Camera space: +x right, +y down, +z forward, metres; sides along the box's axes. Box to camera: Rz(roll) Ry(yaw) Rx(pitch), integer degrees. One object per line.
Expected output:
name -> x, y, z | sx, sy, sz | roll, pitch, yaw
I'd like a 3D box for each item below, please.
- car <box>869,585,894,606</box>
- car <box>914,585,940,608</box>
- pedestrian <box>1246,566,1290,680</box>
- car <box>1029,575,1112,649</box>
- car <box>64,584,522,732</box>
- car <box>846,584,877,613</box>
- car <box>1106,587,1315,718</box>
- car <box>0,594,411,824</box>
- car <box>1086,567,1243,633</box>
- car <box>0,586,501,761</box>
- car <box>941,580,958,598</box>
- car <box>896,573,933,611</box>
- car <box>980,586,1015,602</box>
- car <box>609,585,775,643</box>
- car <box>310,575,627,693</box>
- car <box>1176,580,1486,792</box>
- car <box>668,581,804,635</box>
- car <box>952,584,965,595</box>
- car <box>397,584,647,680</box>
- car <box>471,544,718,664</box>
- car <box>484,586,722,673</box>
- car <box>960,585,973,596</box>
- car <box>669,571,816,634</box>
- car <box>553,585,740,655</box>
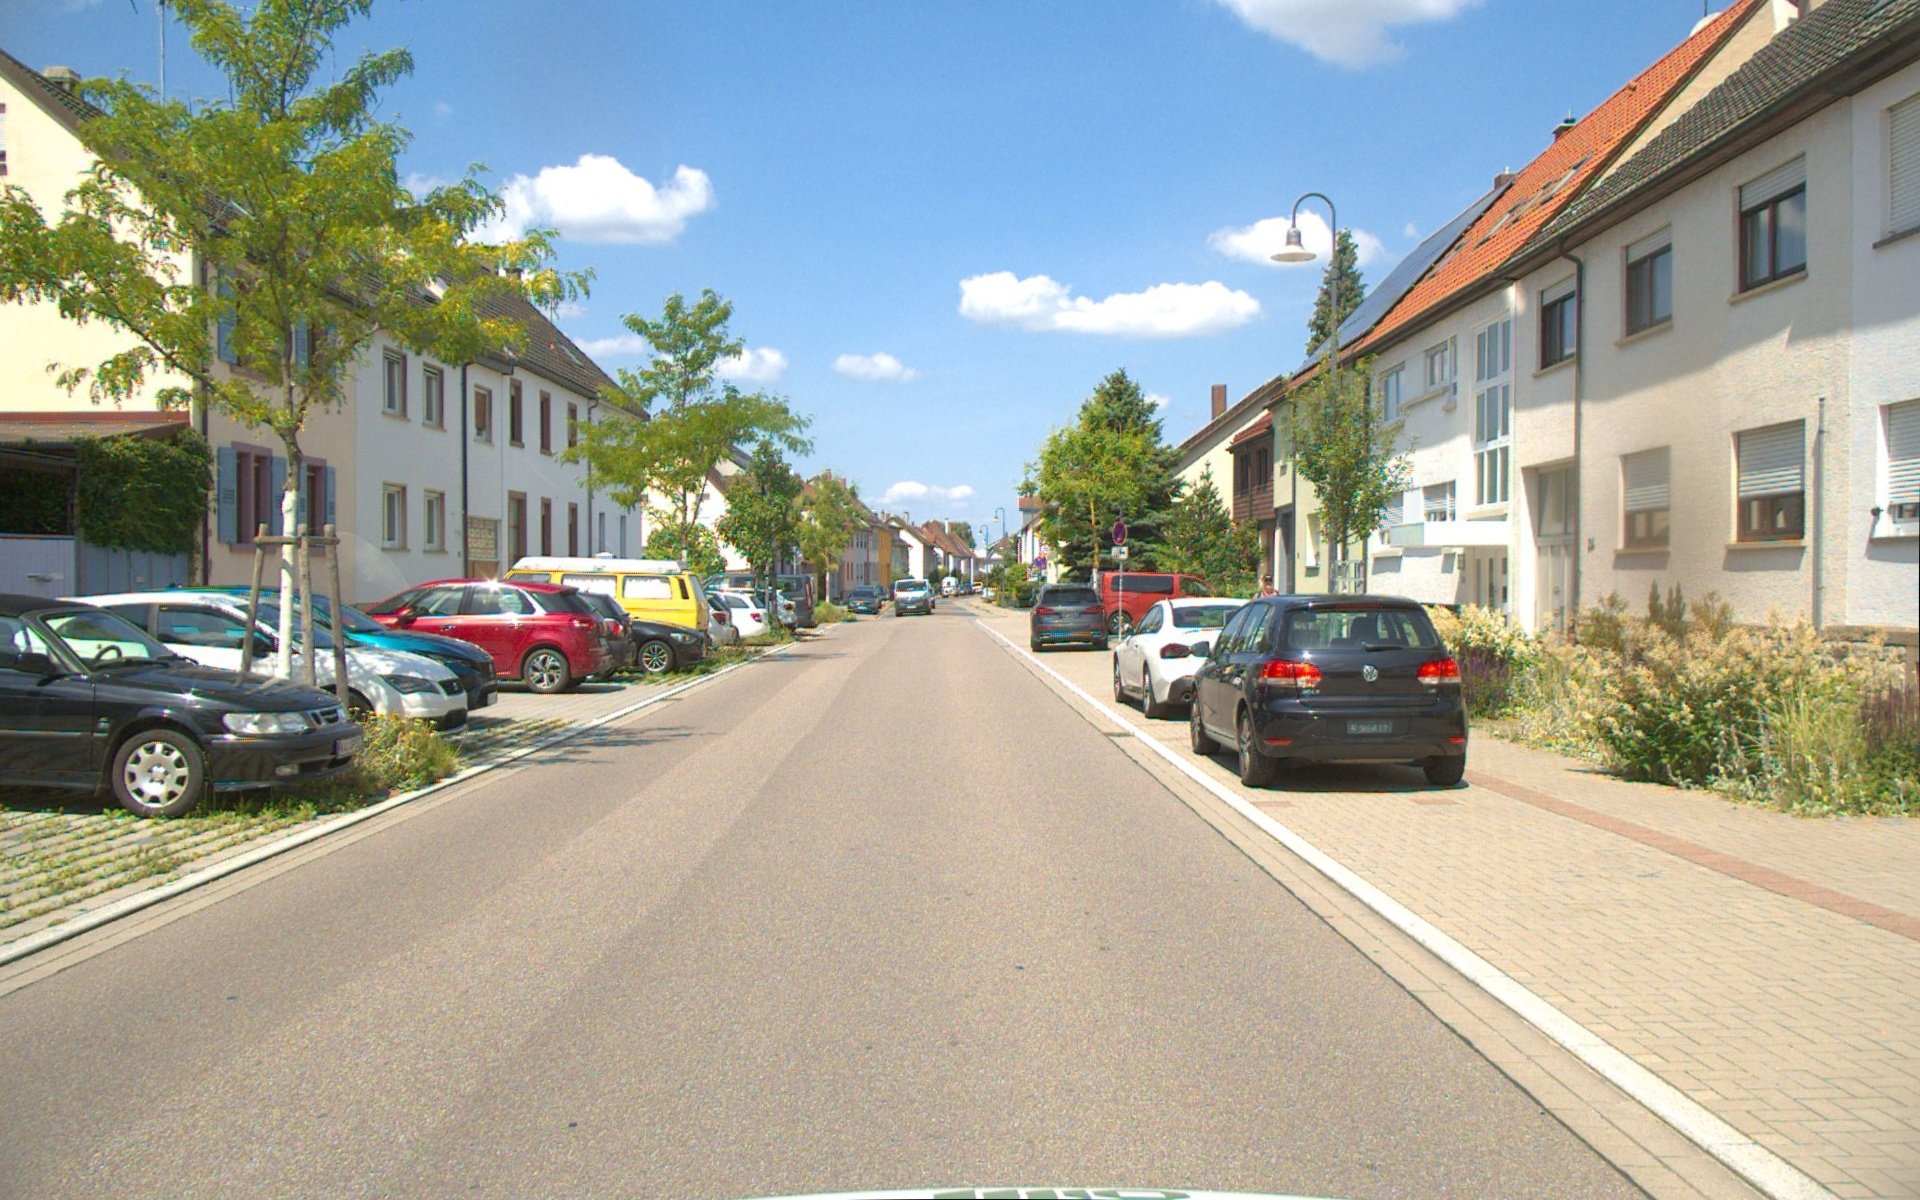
car -> -6.412, -0.351, 135.394 | 1.774, 1.637, 4.000 | 2, 0, 0
car -> -2.309, -0.262, 114.740 | 1.727, 1.549, 4.048 | -2, 0, -2
pedestrian -> 4.899, 0.359, 26.347 | 0.546, 1.779, 0.673 | -1, -1, 0
car -> 2.709, 0.253, 41.443 | 1.826, 1.664, 4.447 | -2, 1, 1
car -> -7.216, 0.607, 18.252 | 4.317, 1.503, 1.774 | 1, 0, -5
car -> -5.937, -0.107, 99.769 | 1.780, 1.458, 4.137 | 4, 2, -3
car -> 3.059, 0.586, 21.109 | 1.795, 1.491, 4.517 | 0, 0, -3
car -> -6.388, 0.697, 11.618 | 4.432, 1.450, 1.795 | 1, 0, -1
car -> 6.284, 0.011, 51.143 | 4.526, 1.927, 2.020 | 1, -1, -2
car -> -6.561, 0.656, 15.600 | 3.973, 1.503, 1.774 | 1, 0, -4
car -> -1.398, -1.459, 218.929 | 2.002, 2.352, 3.772 | 1, 0, 3
car -> -2.480, -0.424, 90.277 | 1.982, 1.984, 4.896 | 0, 0, -2
car -> 3.732, -0.562, 164.792 | 3.451, 1.489, 1.628 | 1, 0, 0
car -> -7.265, 0.388, 45.168 | 4.206, 1.493, 1.774 | 1, 0, 1
car -> -7.243, 0.486, 24.711 | 4.167, 1.639, 1.842 | 1, 0, -2
car -> 2.993, 0.621, 14.170 | 1.731, 1.556, 4.007 | 0, 0, -1
car -> -7.018, 0.249, 52.052 | 4.101, 1.596, 1.772 | 1, 0, -5
car -> -0.244, -1.475, 240.798 | 1.656, 1.530, 3.772 | 1, 0, 3
car -> -7.190, 0.508, 27.436 | 3.716, 1.485, 1.754 | 1, 0, -4
car -> -7.118, 0.075, 32.557 | 4.417, 2.215, 1.925 | 1, 0, -1
car -> -6.422, 0.519, 30.043 | 3.928, 1.485, 1.755 | 1, 0, -1
car -> 0.963, -1.422, 248.289 | 1.656, 1.689, 3.772 | 1, 0, 3
car -> -7.163, 0.094, 54.793 | 4.604, 1.957, 1.937 | 1, 0, -1
car -> -6.993, 0.443, 37.158 | 3.997, 1.493, 1.750 | 1, 0, -9
